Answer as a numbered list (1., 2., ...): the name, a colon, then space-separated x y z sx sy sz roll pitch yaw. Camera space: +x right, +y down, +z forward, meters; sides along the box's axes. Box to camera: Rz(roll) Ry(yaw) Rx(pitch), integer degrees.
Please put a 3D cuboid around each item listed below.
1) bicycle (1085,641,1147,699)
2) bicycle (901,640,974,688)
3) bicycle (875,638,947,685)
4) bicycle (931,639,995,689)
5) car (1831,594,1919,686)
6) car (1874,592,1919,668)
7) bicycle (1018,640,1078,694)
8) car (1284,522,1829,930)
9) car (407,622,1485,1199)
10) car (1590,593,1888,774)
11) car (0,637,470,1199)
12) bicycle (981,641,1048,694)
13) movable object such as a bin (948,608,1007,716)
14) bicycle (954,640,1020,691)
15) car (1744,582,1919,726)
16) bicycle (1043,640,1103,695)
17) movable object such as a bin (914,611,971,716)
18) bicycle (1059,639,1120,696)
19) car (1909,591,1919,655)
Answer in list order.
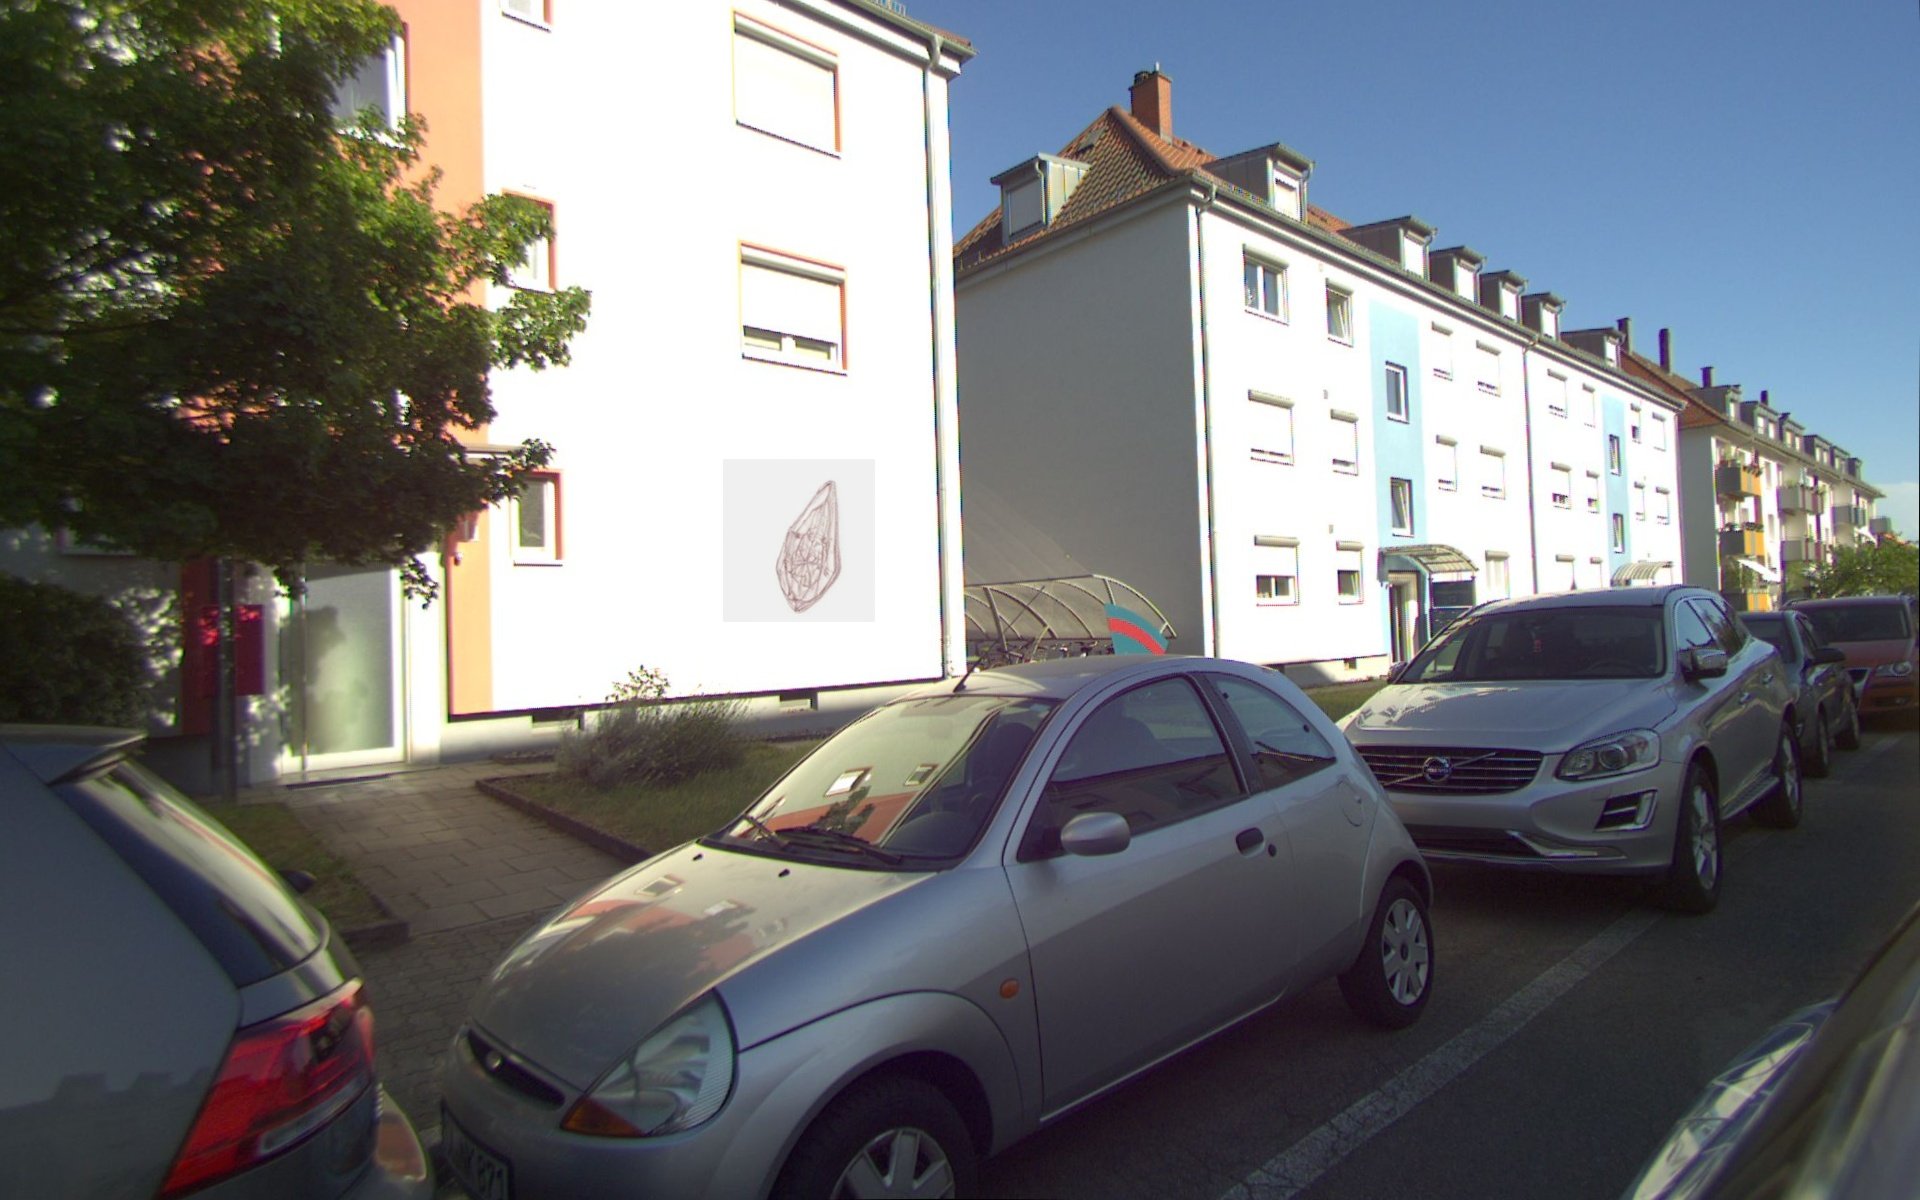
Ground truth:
1. bicycle: 2.787 1.236 18.048 1.260 0.958 0.319 -1 -1 -39
2. bicycle: -0.477 1.397 22.297 1.709 0.958 0.421 -1 0 -41
3. bicycle: -1.098 1.368 22.842 1.709 0.958 0.421 -1 0 -41
4. bicycle: 0.072 1.337 21.354 1.481 0.958 0.319 -1 -1 -39
5. car: 17.783 0.685 18.865 3.809 1.545 1.706 -1 -5 -41
6. car: 21.575 0.599 22.249 3.809 1.591 1.706 -1 -2 -41
7. bicycle: 1.697 1.264 19.402 1.260 0.958 0.319 -1 -1 -39
8. car: 4.005 0.587 6.448 4.235 1.742 1.776 -1 -5 -44
9. car: 0.205 0.843 3.468 3.428 1.412 1.631 -1 -2 -41
10. car: 7.925 0.739 10.179 3.791 1.468 1.618 -1 -4 -42
11. car: -2.616 0.847 0.612 3.887 1.470 1.628 1 -6 -45
12. bicycle: 1.094 1.319 19.959 1.481 0.958 0.319 -1 -1 -39
13. movable object such as a bin: 0.266 0.926 15.325 0.613 1.572 0.595 0 -2 -40
14. bicycle: 0.562 1.328 20.734 1.481 0.958 0.319 -1 -1 -39
15. car: 12.018 0.611 13.417 4.347 1.627 1.729 -1 -2 -41
16. bicycle: 2.134 1.257 19.060 1.260 0.958 0.319 -1 -1 -39
17. movable object such as a bin: -0.274 0.965 15.697 0.613 1.572 0.595 0 -2 -40
18. bicycle: 2.393 1.228 18.625 1.260 0.958 0.319 -1 -1 -39
19. car: 25.838 0.522 25.983 3.971 1.591 1.706 -1 -2 -41
